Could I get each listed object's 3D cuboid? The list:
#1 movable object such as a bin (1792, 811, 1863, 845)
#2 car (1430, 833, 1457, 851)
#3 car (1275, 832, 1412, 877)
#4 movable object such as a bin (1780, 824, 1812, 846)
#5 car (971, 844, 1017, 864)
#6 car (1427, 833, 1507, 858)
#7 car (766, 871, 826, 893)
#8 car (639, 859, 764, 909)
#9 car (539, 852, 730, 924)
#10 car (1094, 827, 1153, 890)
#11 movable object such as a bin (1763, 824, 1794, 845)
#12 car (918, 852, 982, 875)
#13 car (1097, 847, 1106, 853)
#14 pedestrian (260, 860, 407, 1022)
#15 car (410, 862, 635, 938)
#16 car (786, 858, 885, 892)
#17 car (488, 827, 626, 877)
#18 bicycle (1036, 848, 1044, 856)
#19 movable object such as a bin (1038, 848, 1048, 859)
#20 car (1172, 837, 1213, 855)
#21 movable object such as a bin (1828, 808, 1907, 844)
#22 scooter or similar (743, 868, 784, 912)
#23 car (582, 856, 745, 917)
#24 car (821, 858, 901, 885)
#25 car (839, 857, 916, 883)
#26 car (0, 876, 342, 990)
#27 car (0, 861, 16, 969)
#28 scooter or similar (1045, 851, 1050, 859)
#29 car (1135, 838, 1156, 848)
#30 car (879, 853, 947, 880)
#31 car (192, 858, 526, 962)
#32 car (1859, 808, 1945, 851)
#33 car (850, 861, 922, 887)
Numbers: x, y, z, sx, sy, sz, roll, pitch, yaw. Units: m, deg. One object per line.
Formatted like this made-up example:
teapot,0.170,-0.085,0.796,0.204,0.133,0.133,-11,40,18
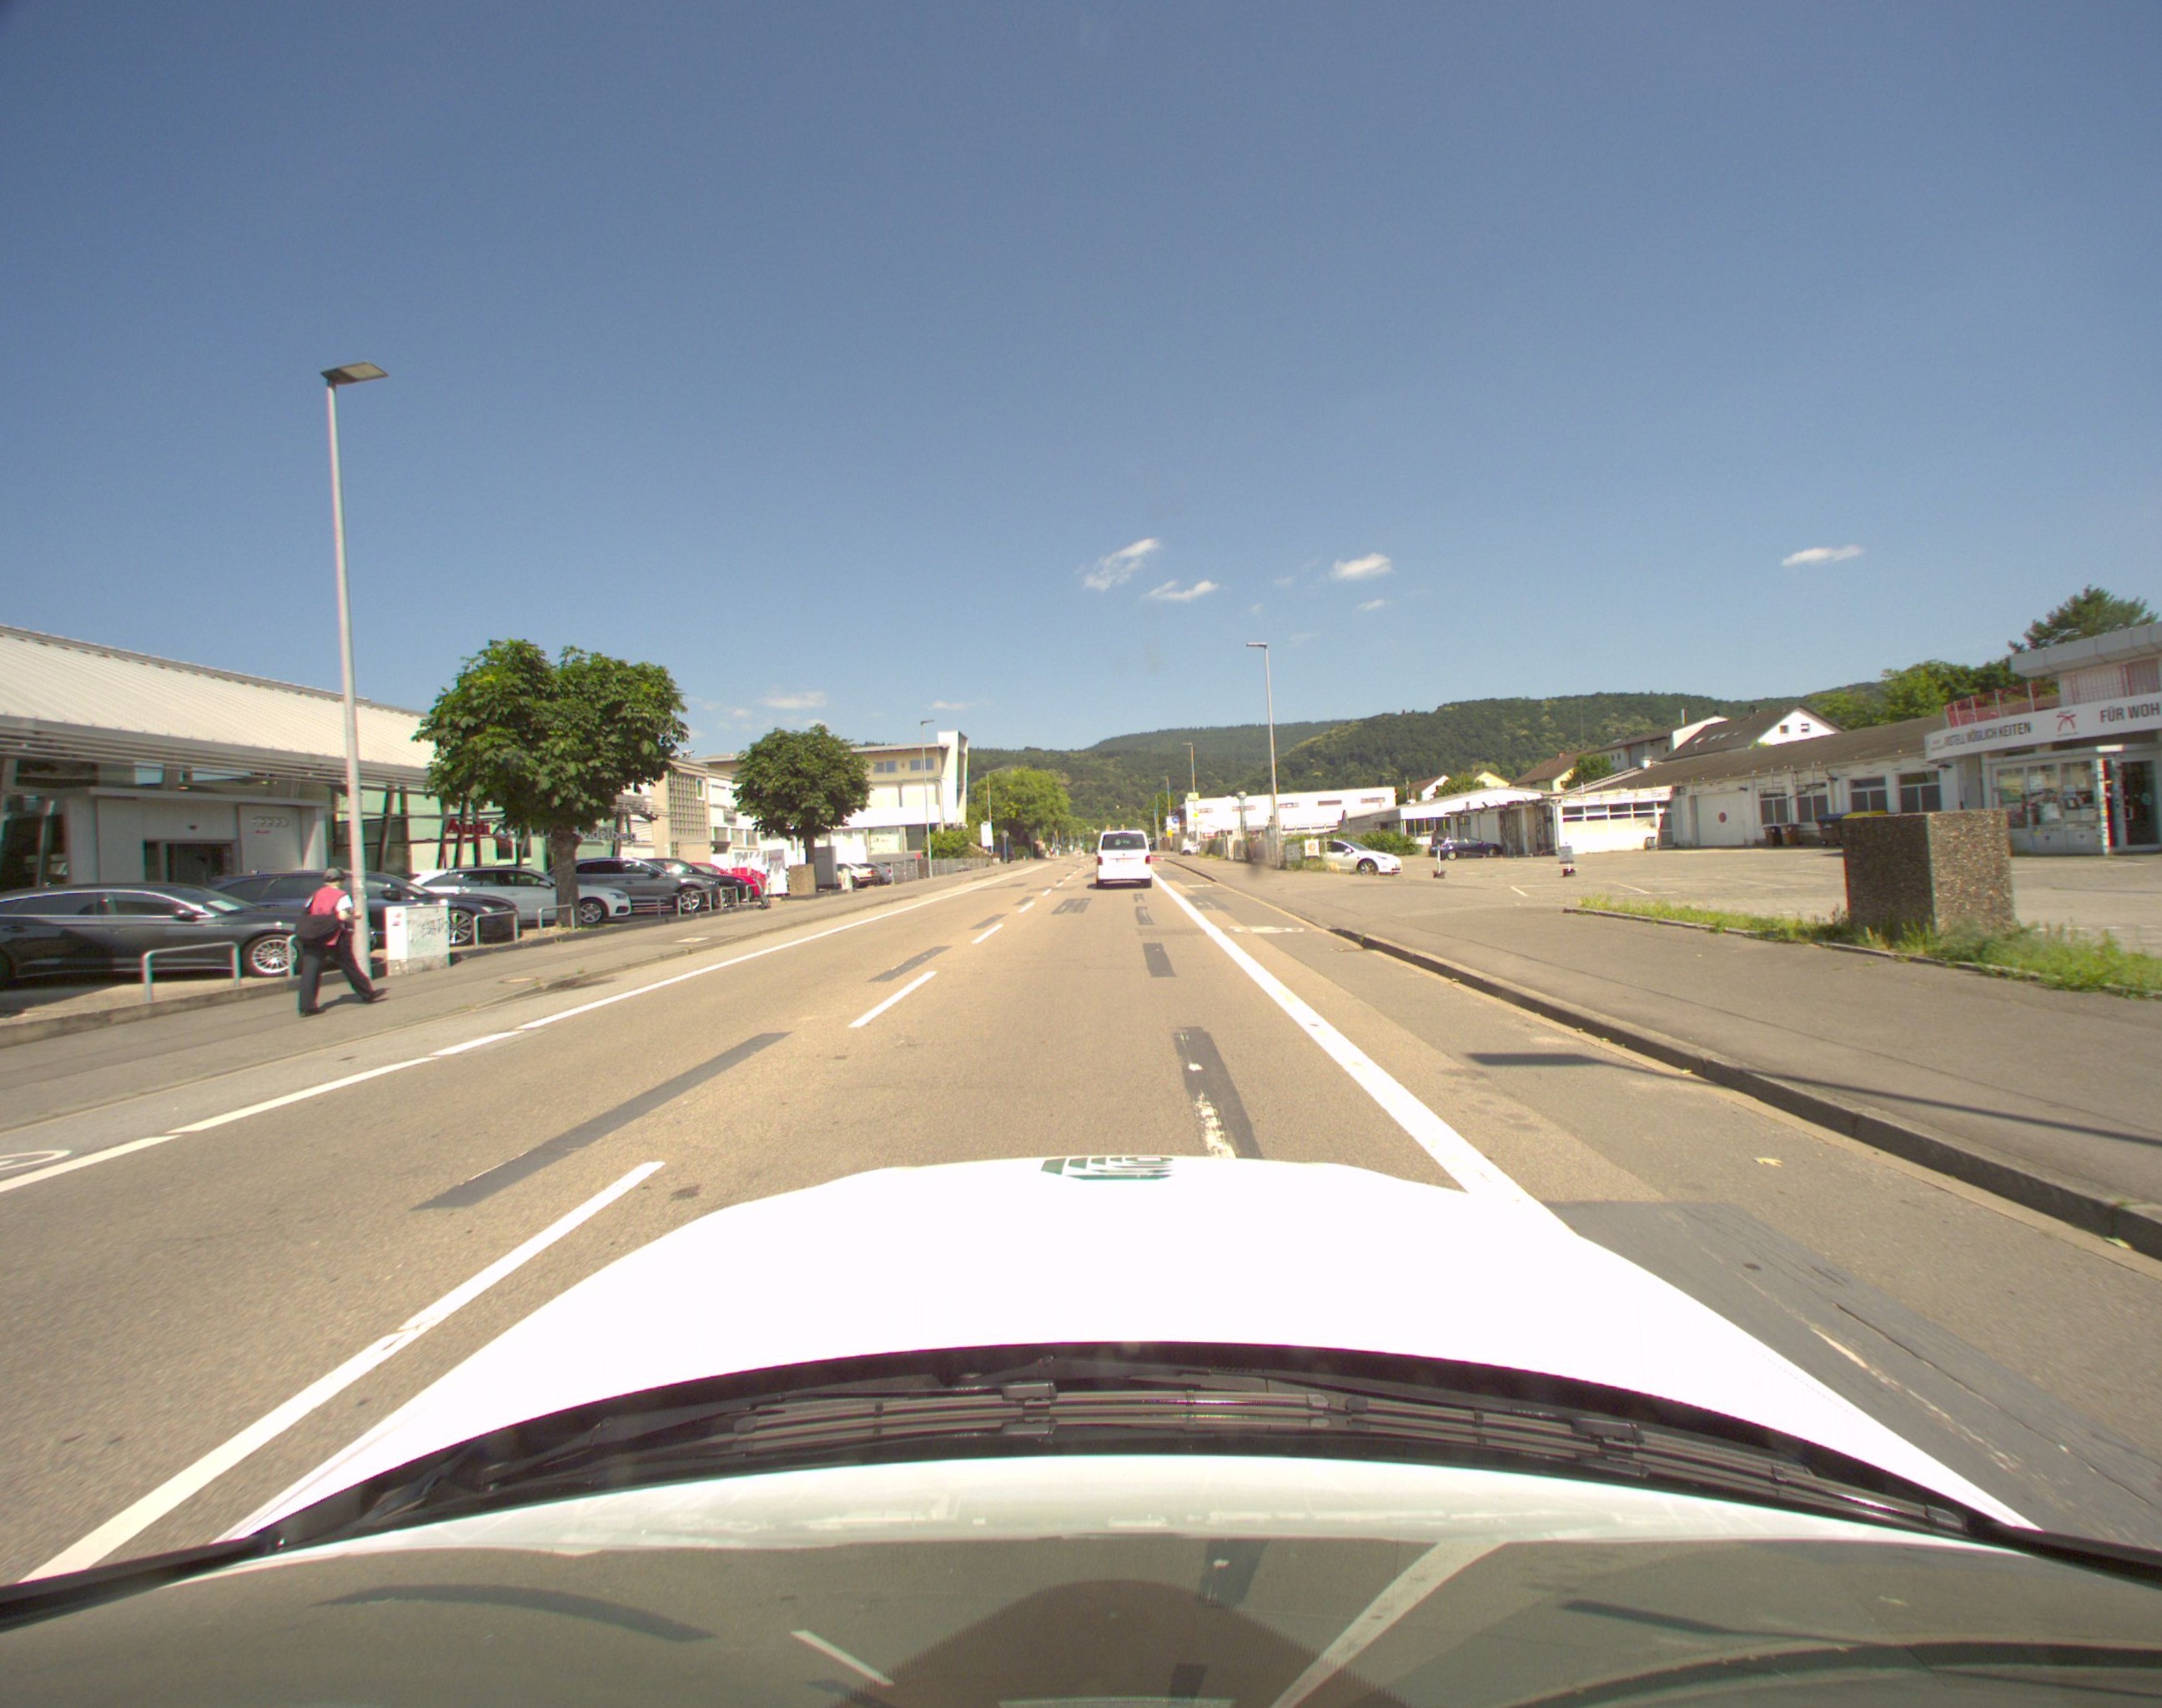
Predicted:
movable object such as a bin,33.875,-1.166,36.981,1.566,1.455,1.754,-3,0,-2
car,36.608,-1.249,82.200,1.974,1.647,4.026,-1,2,32
car,10.774,0.089,33.702,2.035,1.621,4.984,4,-4,-45
movable object such as a bin,34.519,-0.924,39.338,0.744,1.036,0.876,-3,0,-2
car,-9.103,-0.043,85.114,4.555,1.865,2.091,-3,0,-3
car,25.522,-0.584,53.979,4.307,1.398,2.123,-3,0,6
car,-22.287,2.212,63.732,3.973,1.461,1.860,-3,0,1
car,-13.882,1.061,29.854,4.011,1.550,1.842,-3,1,-28
car,-12.730,0.895,23.371,4.598,1.696,1.840,-3,1,-33
car,1.451,0.118,29.137,1.928,2.059,4.545,-1,0,1
movable object such as a bin,34.527,-0.971,40.328,0.744,0.992,0.876,-3,0,-2
car,-10.462,0.761,65.332,4.722,1.481,2.048,-4,0,1
car,5.270,-1.059,209.219,1.985,1.370,4.330,-4,0,3
pedestrian,-9.295,1.033,10.174,0.730,1.867,1.047,-4,0,2
car,-13.089,1.020,19.381,4.219,1.495,1.855,-1,-1,-33
car,-12.764,1.080,42.585,4.509,1.457,1.900,-4,0,0
car,-19.707,-0.106,30.855,1.978,1.684,4.017,-3,0,16
bicycle,-5.713,-0.254,113.477,1.023,1.118,2.765,-1,0,0
movable object such as a bin,-5.711,-0.105,122.539,1.446,1.590,1.304,-4,0,-6
car,10.480,-0.754,76.819,3.648,1.484,1.730,-3,0,4
movable object such as a bin,33.904,-1.190,35.149,1.566,1.455,1.824,-3,0,-2
scooter or similar,-9.942,1.109,25.572,0.742,1.247,1.488,-3,0,-5
car,-13.444,0.977,26.297,4.498,1.708,1.891,-2,0,-33
car,-12.134,0.978,45.120,3.879,1.444,1.822,1,-2,-2
car,-11.782,0.969,47.345,3.974,1.443,1.859,0,-2,0
car,-13.695,1.064,11.755,4.176,1.459,1.888,2,-2,-33
car,-17.742,0.960,10.669,1.995,1.719,4.712,0,0,-13
scooter or similar,-4.831,0.125,116.707,0.645,1.127,1.621,0,0,-4
car,12.889,-2.155,162.730,3.964,1.775,2.005,-4,0,8
car,-11.805,0.867,57.328,4.284,1.558,1.994,-4,0,-2
car,-13.349,0.952,15.536,4.499,1.608,1.946,0,3,-33
car,27.510,-0.786,27.407,1.871,1.290,4.582,-1,0,43
car,-11.950,1.247,50.077,3.975,1.490,1.858,1,-2,-1
